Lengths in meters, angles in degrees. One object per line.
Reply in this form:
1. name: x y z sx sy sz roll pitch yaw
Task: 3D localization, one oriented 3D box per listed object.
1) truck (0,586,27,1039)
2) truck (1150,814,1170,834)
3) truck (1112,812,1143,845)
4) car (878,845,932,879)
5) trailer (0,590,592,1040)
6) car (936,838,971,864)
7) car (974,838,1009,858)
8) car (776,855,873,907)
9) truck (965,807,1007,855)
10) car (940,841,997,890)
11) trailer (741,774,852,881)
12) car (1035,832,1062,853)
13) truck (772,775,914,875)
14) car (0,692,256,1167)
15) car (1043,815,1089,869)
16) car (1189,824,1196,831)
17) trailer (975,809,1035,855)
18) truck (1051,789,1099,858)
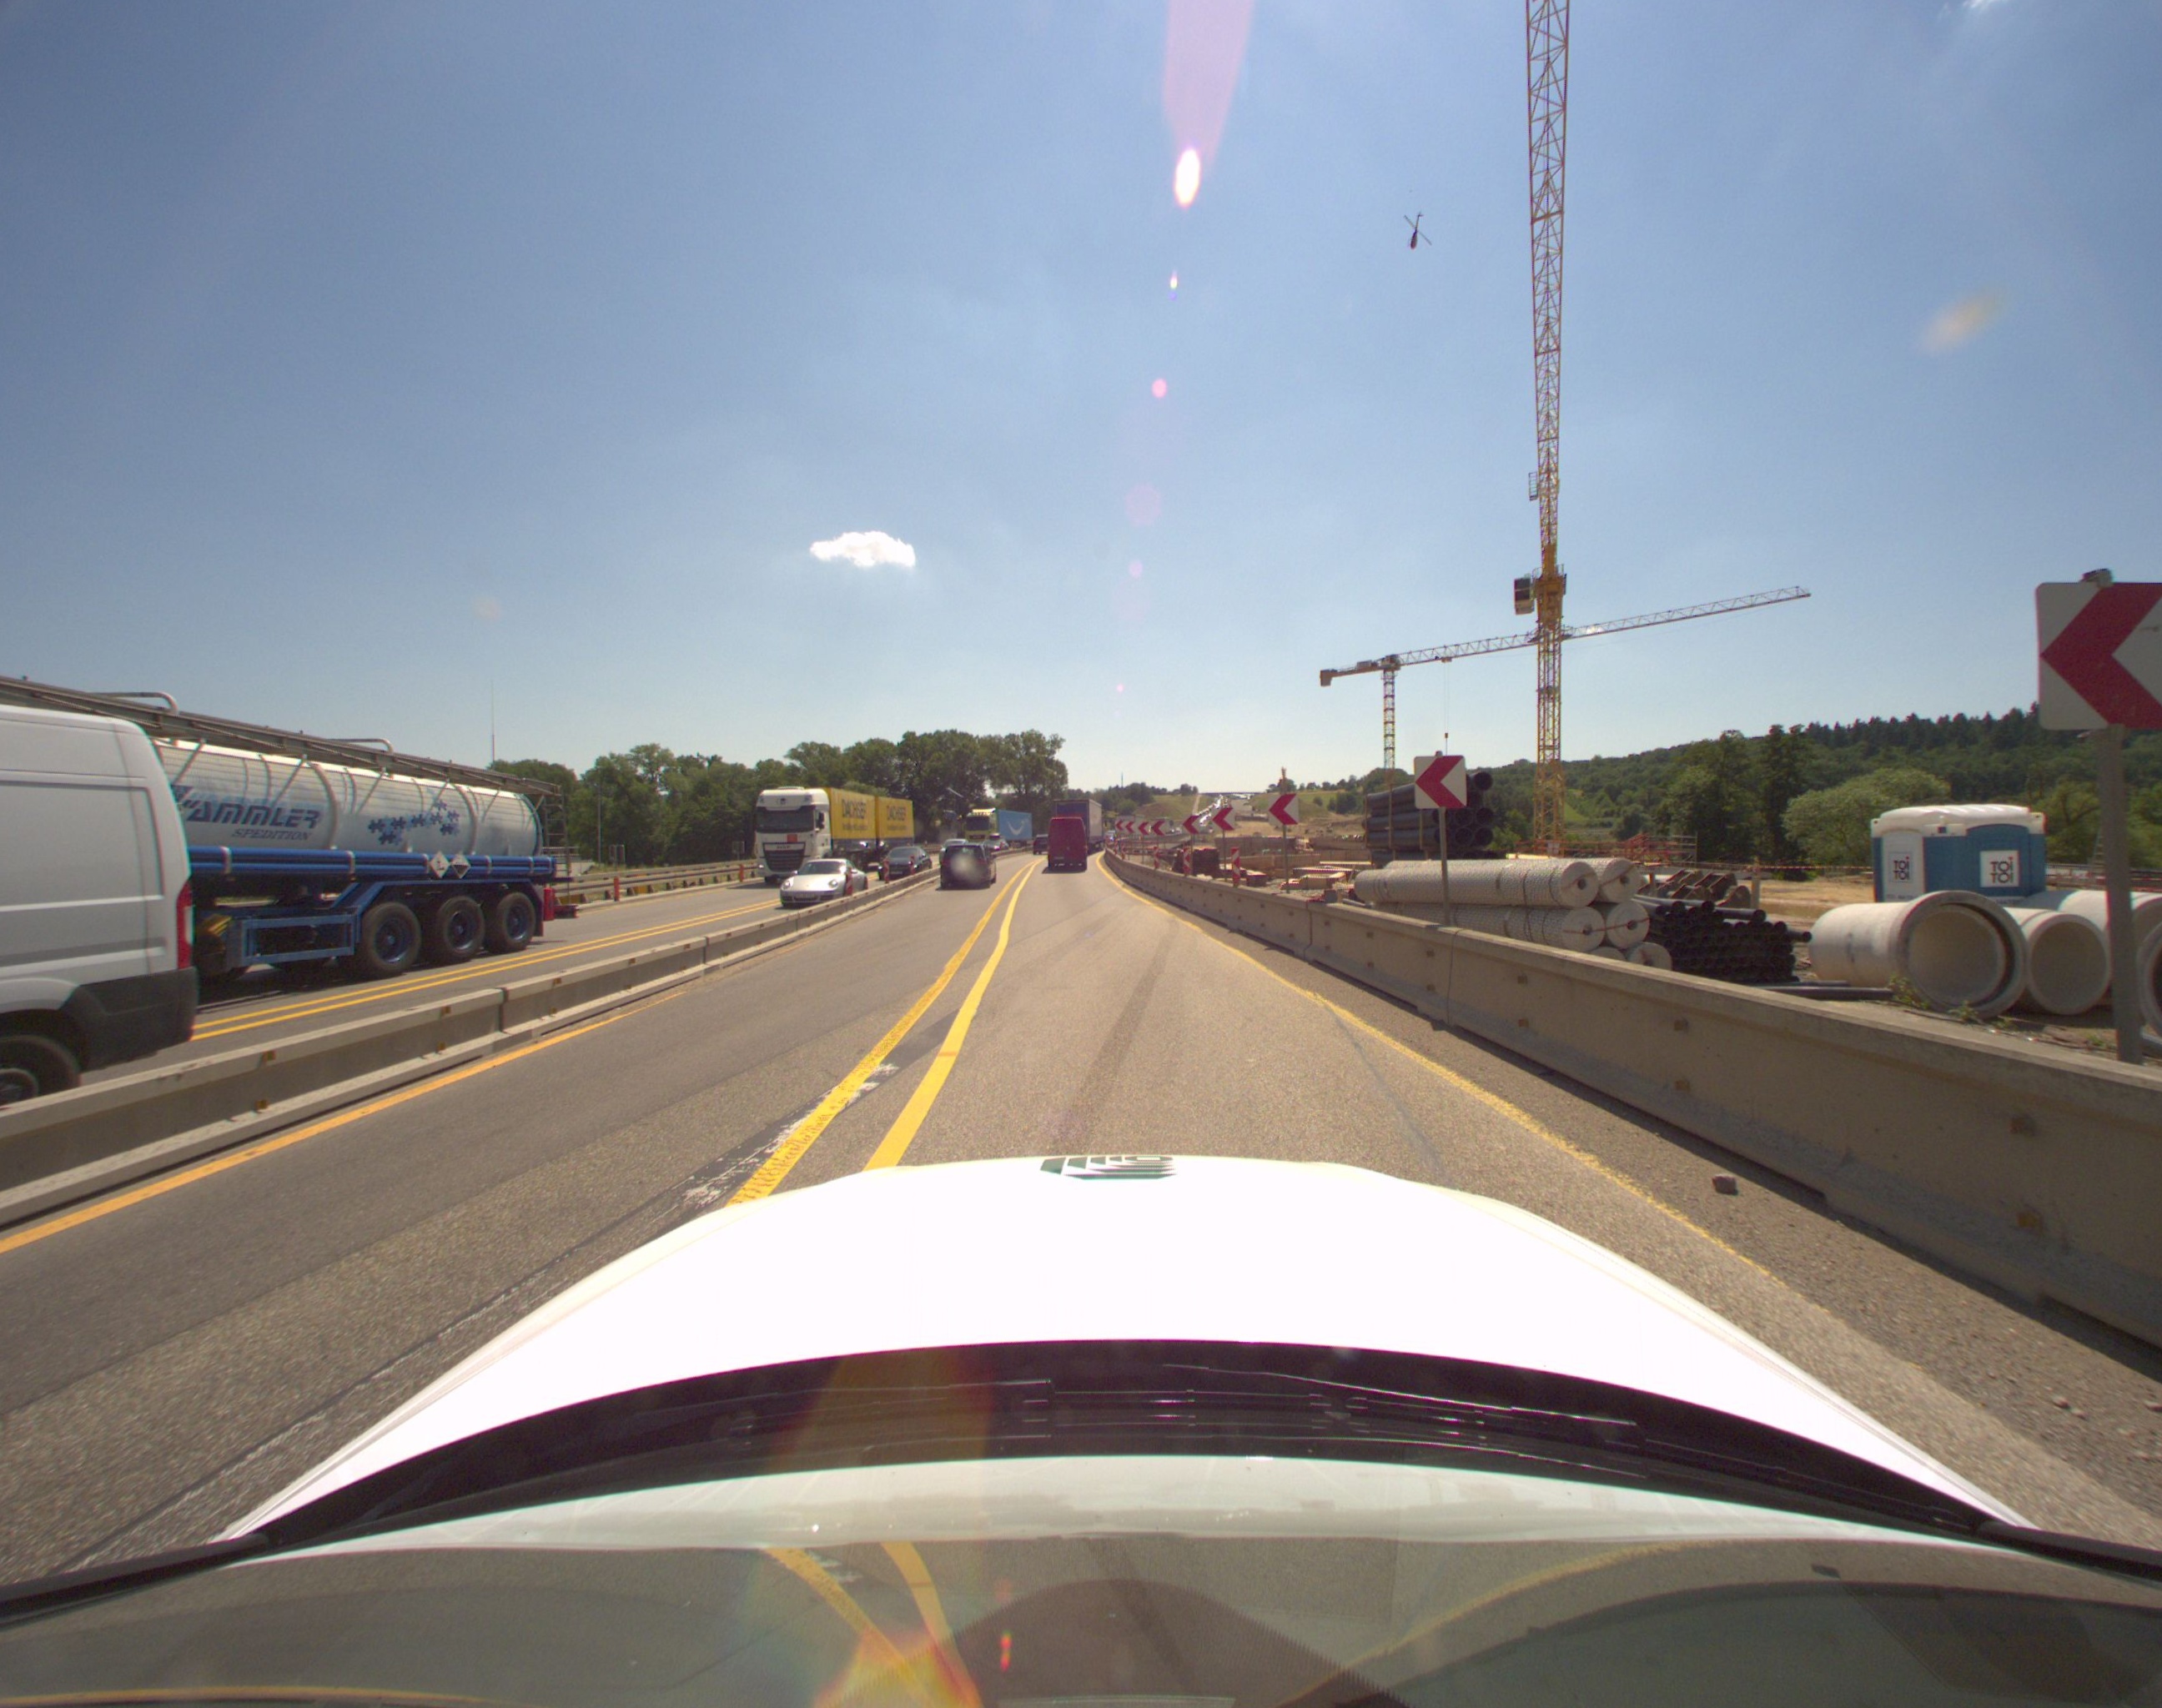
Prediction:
1. truck: -10.266 -0.353 4.475 2.528 3.821 4.945 0 0 -3
2. truck: 15.115 -5.702 155.418 3.164 2.977 8.921 -1 -2 9
3. truck: 6.017 -3.251 105.016 3.162 3.989 6.761 -1 1 10
4. car: -7.938 0.308 37.042 1.673 1.362 4.498 -1 1 -3
5. trailer: -10.487 -0.322 10.478 2.519 3.789 10.236 0 0 -2
6. car: -8.053 -0.236 51.815 1.632 1.485 3.999 -1 2 -1
7. car: -6.972 -0.510 63.756 1.812 1.435 4.590 -1 2 5
8. car: -7.440 0.732 24.060 1.673 1.264 4.331 -1 1 -3
9. truck: -8.718 -2.056 75.043 2.610 4.270 4.744 0 1 9
10. car: -4.162 0.359 30.727 1.730 1.635 4.385 -1 2 -3
11. trailer: -12.053 -1.154 34.998 2.857 4.228 5.217 -1 2 -1
12. car: -2.658 -0.908 67.071 1.826 1.635 4.392 -1 0 2
13. truck: -11.985 -1.387 43.339 2.797 4.342 15.377 -1 1 1
14. car: -6.660 0.381 2.384 2.066 2.503 6.477 -1 -1 -2
15. car: -0.844 -0.564 42.098 2.146 2.611 5.430 0 0 -4
16. car: 27.839 -6.523 203.740 1.608 1.699 3.900 0 1 9
17. trailer: -7.478 -2.170 82.500 2.631 4.292 13.346 0 1 10
18. truck: -0.361 -2.279 61.974 2.931 4.945 6.751 -1 1 5
